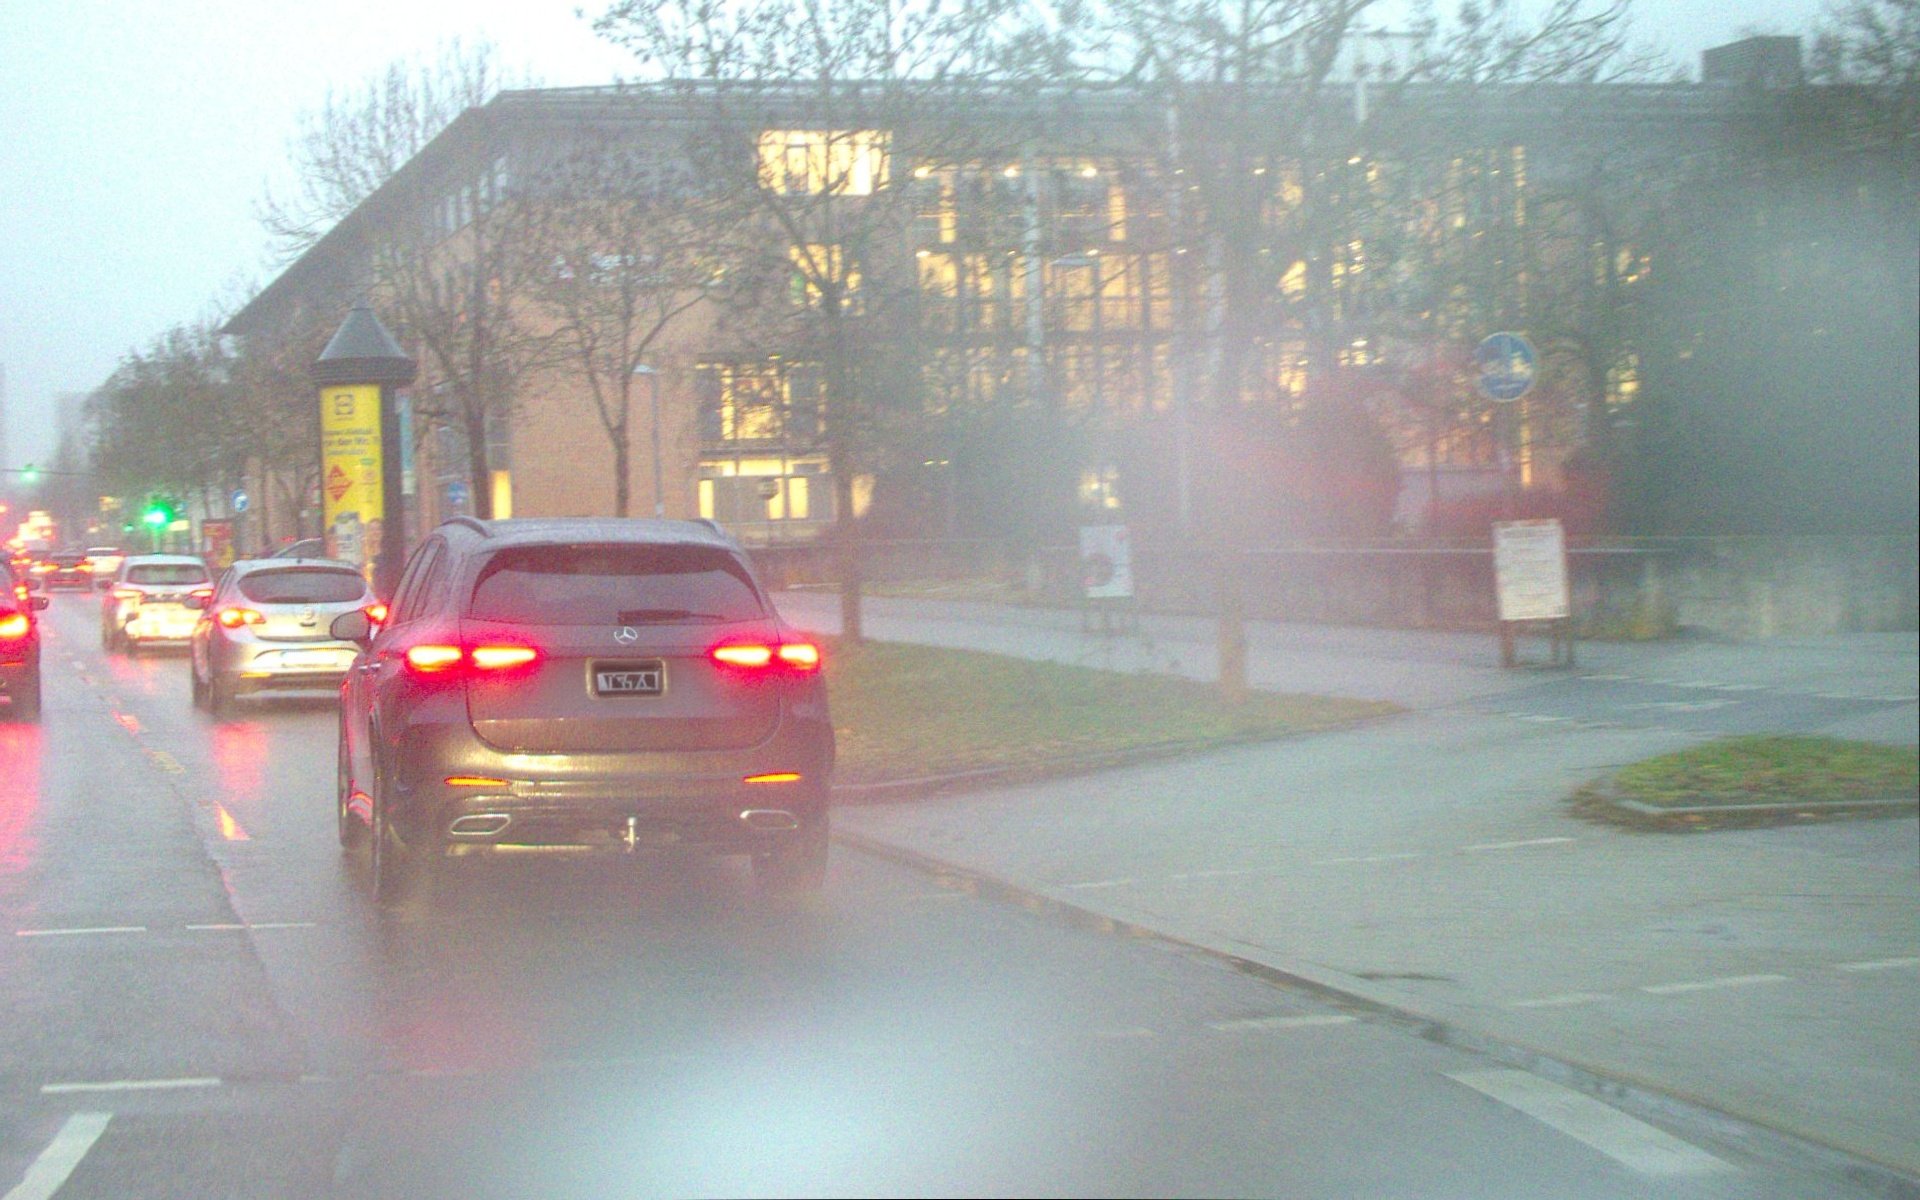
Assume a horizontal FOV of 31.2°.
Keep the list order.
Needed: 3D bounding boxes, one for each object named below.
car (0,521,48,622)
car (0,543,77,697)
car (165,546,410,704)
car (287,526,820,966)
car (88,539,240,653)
[{"bbox_3d":[-16.356,-0.465,57.442,1.993,1.612,4.001,-3,2,-16],"label":"car"},{"bbox_3d":[-9.736,0.181,33.512,1.993,1.393,4.001,-3,2,-16],"label":"car"},{"bbox_3d":[-6.792,0.204,34.422,1.993,1.403,4.001,-3,2,-16],"label":"car"},{"bbox_3d":[-1.841,0.516,15.298,1.990,1.610,4.001,-2,2,-8],"label":"car"},{"bbox_3d":[-12.277,-0.092,52.852,1.993,1.612,4.001,-3,2,-16],"label":"car"}]
